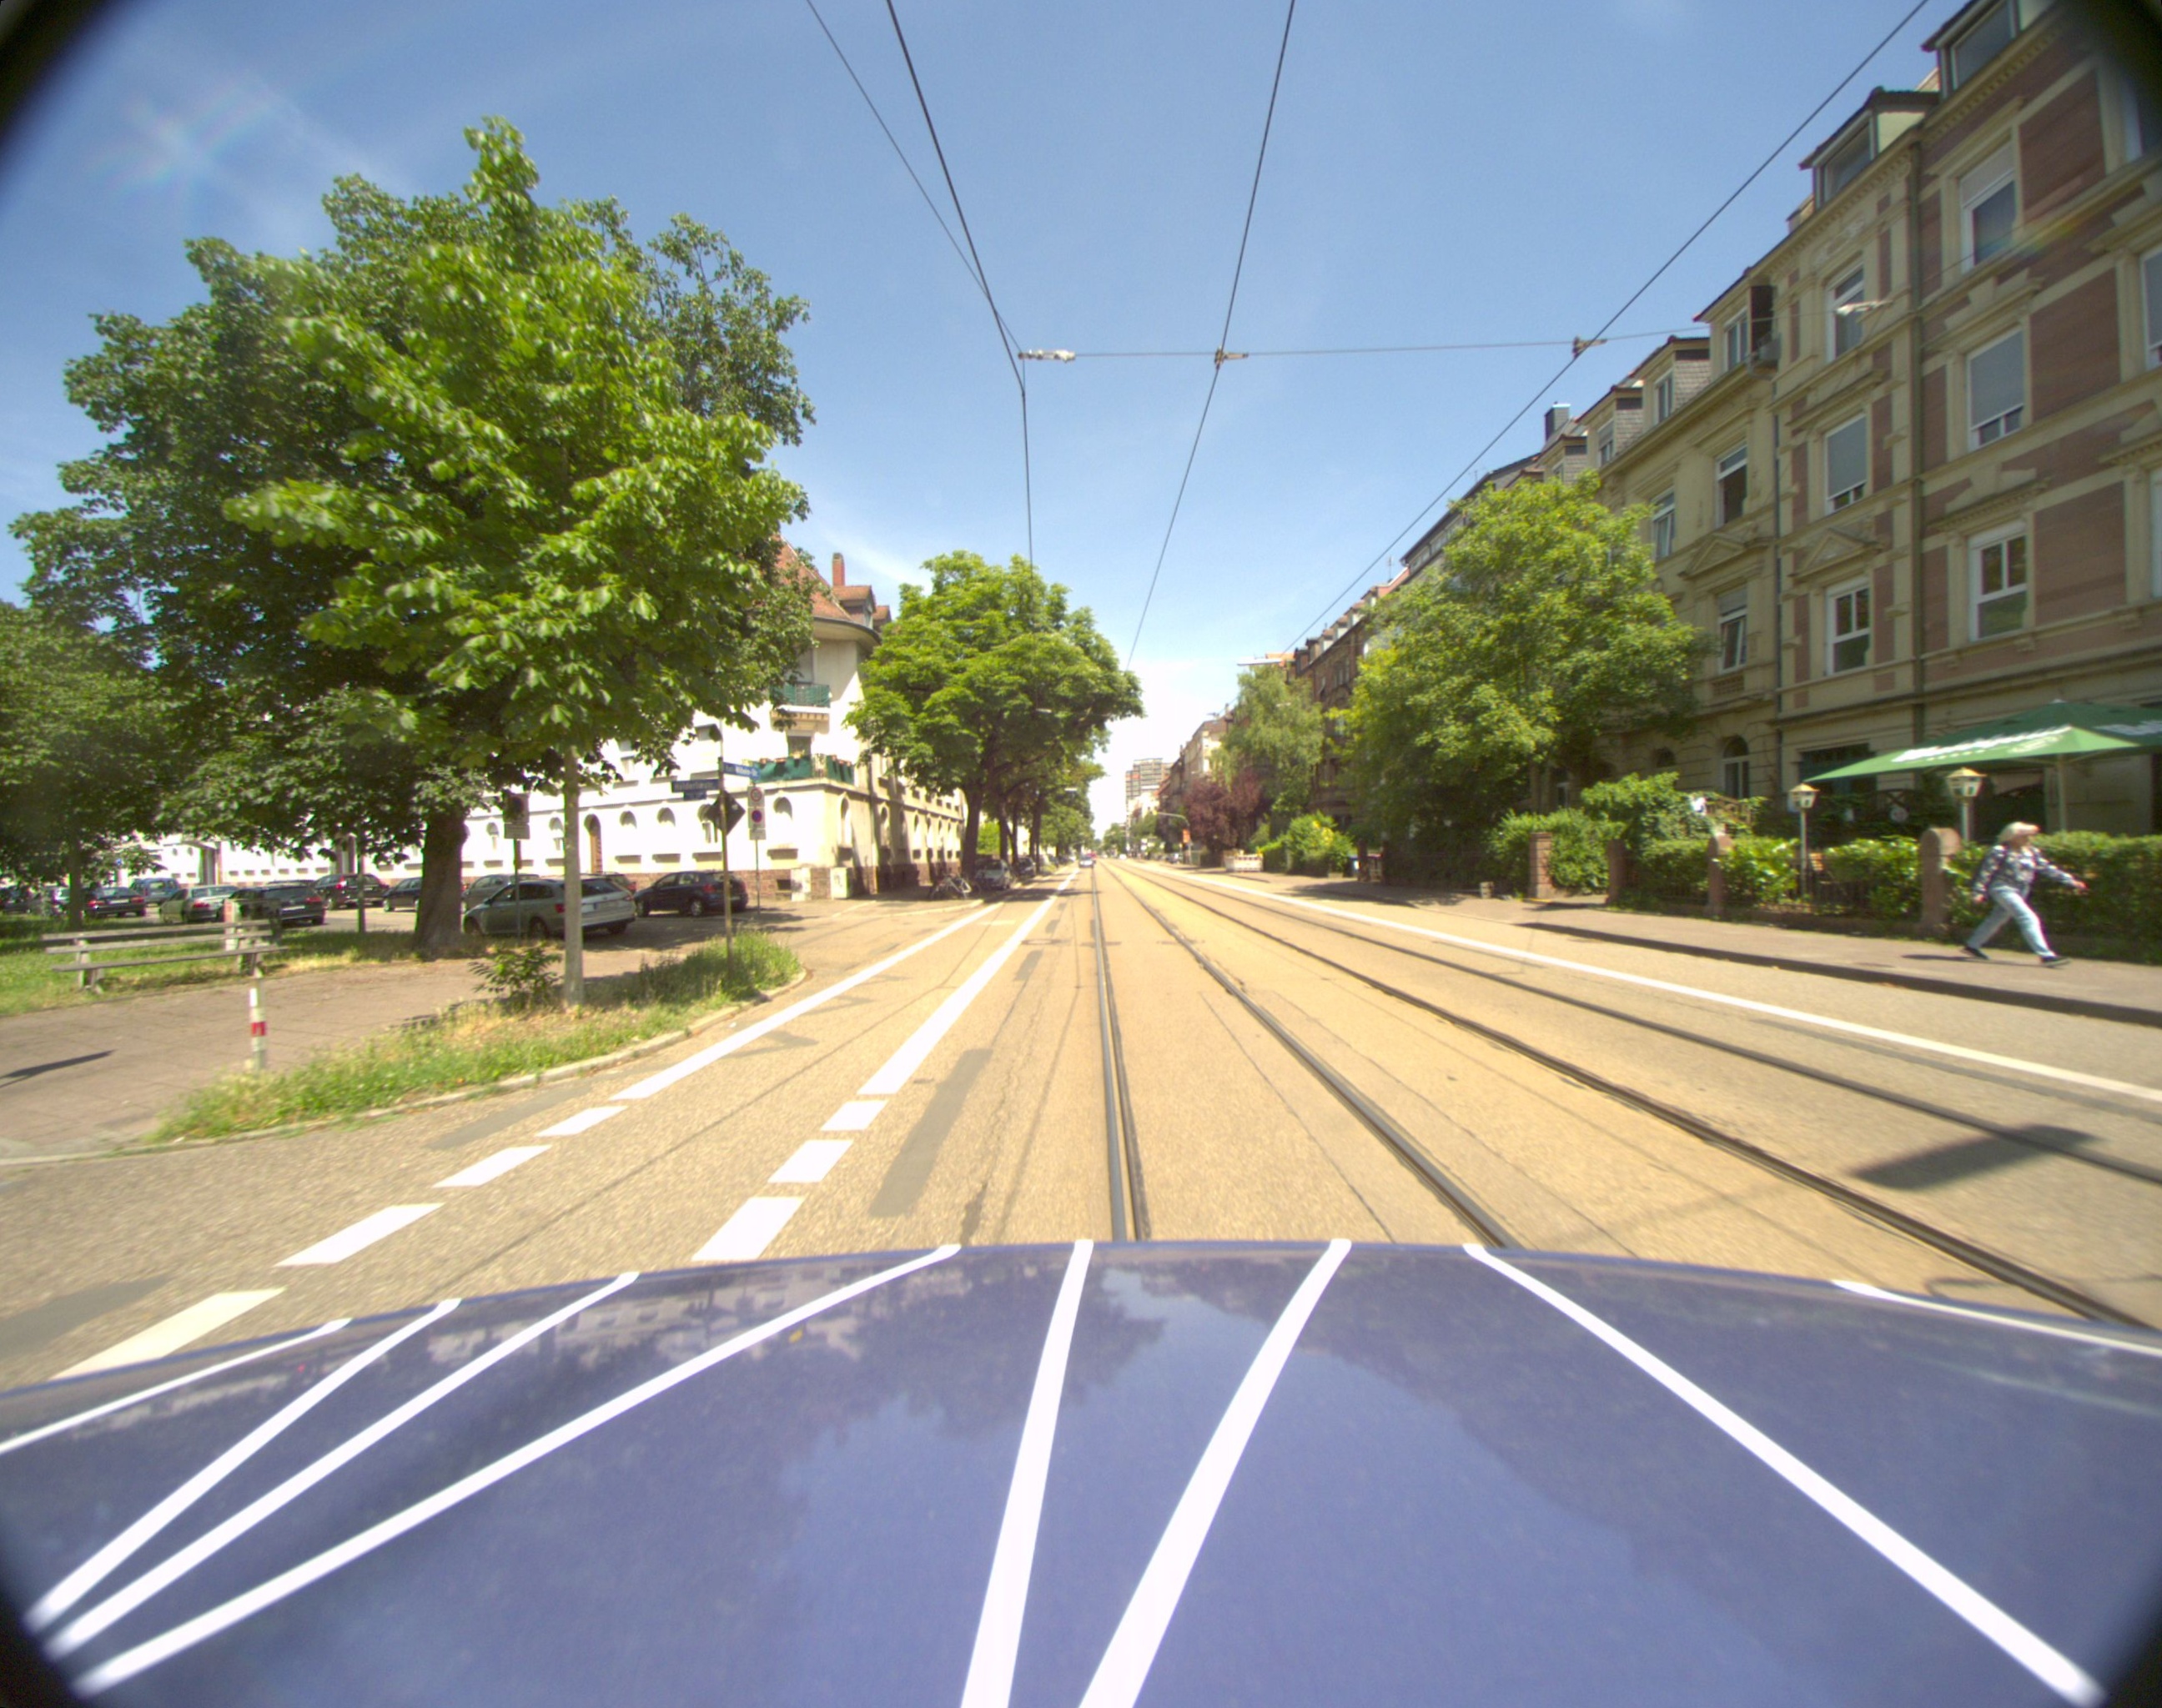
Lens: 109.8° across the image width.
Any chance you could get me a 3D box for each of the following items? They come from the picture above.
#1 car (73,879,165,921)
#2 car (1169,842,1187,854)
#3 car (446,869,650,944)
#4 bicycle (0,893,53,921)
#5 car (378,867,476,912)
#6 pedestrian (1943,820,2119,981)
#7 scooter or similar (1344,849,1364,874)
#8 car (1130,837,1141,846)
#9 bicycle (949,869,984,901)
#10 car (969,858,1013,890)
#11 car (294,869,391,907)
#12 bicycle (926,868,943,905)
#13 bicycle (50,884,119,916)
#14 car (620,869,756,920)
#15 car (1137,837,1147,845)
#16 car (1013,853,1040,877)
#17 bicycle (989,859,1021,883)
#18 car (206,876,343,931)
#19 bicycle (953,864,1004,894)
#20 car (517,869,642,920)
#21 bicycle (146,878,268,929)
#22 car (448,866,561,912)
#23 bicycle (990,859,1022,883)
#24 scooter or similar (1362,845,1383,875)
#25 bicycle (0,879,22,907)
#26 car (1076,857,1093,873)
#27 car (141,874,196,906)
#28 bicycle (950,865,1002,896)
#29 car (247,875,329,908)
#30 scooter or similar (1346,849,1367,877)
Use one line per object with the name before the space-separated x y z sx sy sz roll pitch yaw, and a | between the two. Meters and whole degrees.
car | -43.105 2.030 34.046 3.887 1.671 1.768 -1 2 27
car | 13.293 -0.873 104.644 1.998 1.468 3.999 -2 1 1
car | -12.488 1.222 17.756 4.664 1.506 1.879 -3 0 27
bicycle | -58.497 2.901 41.962 3.410 1.300 1.620 -1 2 30
car | -27.176 1.453 31.540 3.990 1.720 1.655 -1 2 28
pedestrian | 10.225 0.470 8.224 0.742 1.632 0.939 -1 1 4
scooter or similar | 12.850 0.332 35.733 0.617 1.151 0.694 -2 1 -9
car | 11.076 -2.504 154.108 1.998 1.717 3.871 -2 1 1
bicycle | -3.994 1.074 26.528 1.169 1.057 0.280 -1 2 4
car | -4.200 0.905 36.015 1.596 1.444 3.632 0 0 1
car | -34.242 1.559 35.232 3.990 1.648 1.837 -1 1 25
bicycle | -5.095 1.109 26.378 0.284 1.193 1.625 -3 2 -19
bicycle | -48.350 2.193 36.862 3.734 1.385 1.578 -1 1 31
car | -12.359 1.234 23.893 3.874 1.439 1.648 -1 2 23
car | 10.783 -2.395 134.991 1.493 1.372 3.630 -2 1 1
car | -3.837 0.752 54.211 1.539 1.535 3.999 -2 1 1
bicycle | -4.031 0.915 40.330 1.623 1.194 0.305 -2 2 2
car | -26.617 1.580 25.083 3.990 1.573 2.003 -1 2 27
bicycle | -4.274 1.045 31.723 2.037 1.194 0.445 -2 2 11
car | -17.411 1.373 26.356 3.990 1.495 1.823 -1 4 28
bicycle | -32.038 1.762 27.842 3.990 1.636 1.841 -1 2 25
car | -22.182 1.317 29.219 3.990 1.571 1.872 -1 2 28
bicycle | -4.016 0.909 40.683 1.623 1.194 0.305 -2 2 2
scooter or similar | 13.742 0.285 35.848 0.617 1.391 0.694 -2 1 -9
bicycle | -65.758 2.380 45.813 3.989 1.582 1.786 -1 2 31
car | 0.393 1.242 88.059 1.893 1.561 4.036 -2 1 1
car | -57.946 2.258 48.262 3.989 1.866 1.588 -1 2 32
bicycle | -4.330 1.082 31.217 2.037 1.194 0.445 -2 2 11
car | -40.193 1.893 38.518 3.990 1.550 1.587 -1 2 25
scooter or similar | 11.773 0.391 32.436 0.616 1.151 0.695 -2 1 -2
